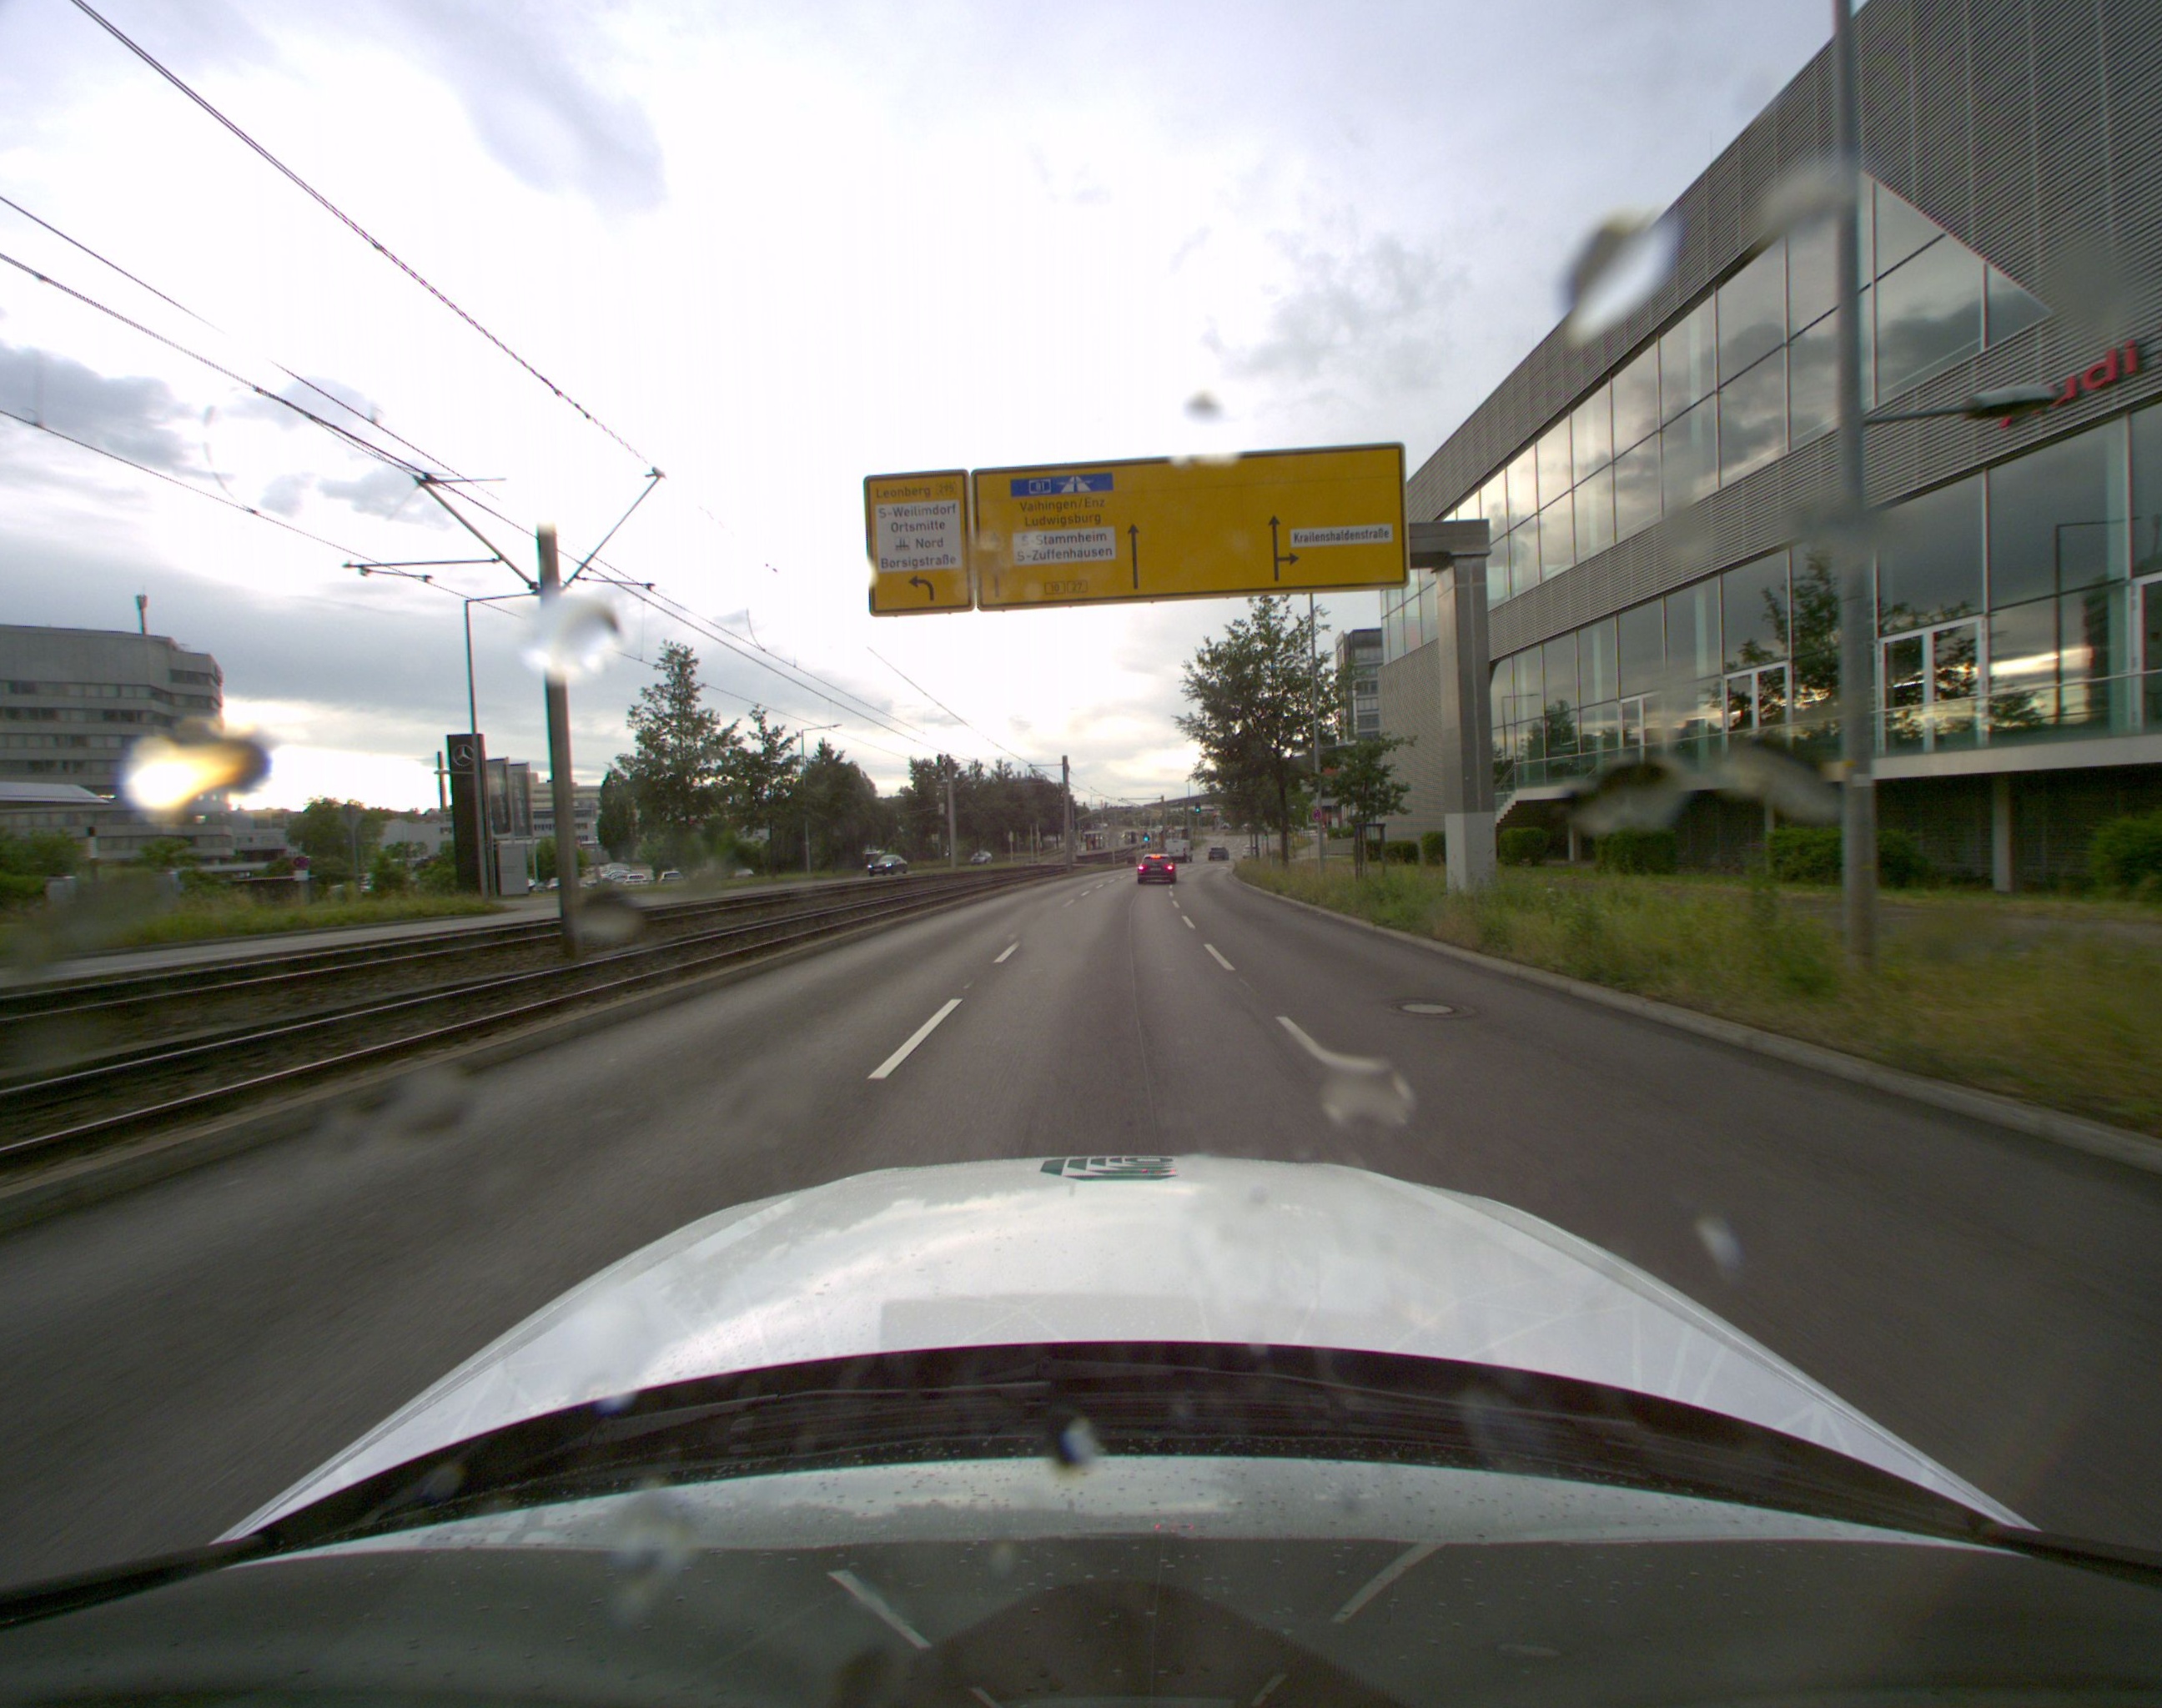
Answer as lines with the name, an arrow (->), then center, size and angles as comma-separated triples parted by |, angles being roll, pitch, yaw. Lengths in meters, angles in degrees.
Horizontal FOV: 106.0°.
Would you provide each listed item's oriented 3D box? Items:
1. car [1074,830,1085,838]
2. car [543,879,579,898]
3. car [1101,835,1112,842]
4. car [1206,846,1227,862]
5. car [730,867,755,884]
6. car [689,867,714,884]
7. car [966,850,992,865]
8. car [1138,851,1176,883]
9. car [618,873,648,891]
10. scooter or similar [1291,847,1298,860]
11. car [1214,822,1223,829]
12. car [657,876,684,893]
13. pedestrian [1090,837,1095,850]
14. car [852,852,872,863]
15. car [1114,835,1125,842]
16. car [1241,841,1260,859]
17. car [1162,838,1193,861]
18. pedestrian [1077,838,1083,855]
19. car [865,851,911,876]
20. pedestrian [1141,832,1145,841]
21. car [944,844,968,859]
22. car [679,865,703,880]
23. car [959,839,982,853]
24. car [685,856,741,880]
car -> -0.507, -5.491, 226.573 | 1.999, 2.014, 3.974 | 0, -1, -19
car -> -43.946, 2.912, 68.921 | 1.758, 1.494, 3.971 | 0, -1, -21
car -> 7.421, -4.498, 234.695 | 1.999, 2.014, 3.974 | 0, -1, -19
car -> 14.443, 0.007, 86.570 | 2.008, 1.623, 4.012 | -1, -1, 11
car -> -31.136, 1.983, 74.831 | 2.003, 1.510, 3.966 | 0, -1, -25
car -> -34.516, 1.959, 74.169 | 1.758, 1.494, 3.971 | 0, -1, -21
car -> -12.064, 0.436, 96.442 | 1.982, 1.679, 4.009 | -1, 0, 7
car -> 3.821, 0.598, 40.377 | 1.755, 1.463, 4.635 | 0, 0, 7
car -> -39.345, 2.452, 71.518 | 1.758, 1.494, 3.971 | 0, -1, -21
scooter or similar -> 20.808, -0.060, 79.241 | 0.455, 1.263, 1.340 | -4, 0, 9
car -> 43.487, -9.071, 257.513 | 1.986, 2.014, 4.001 | -1, -1, 2
car -> -36.658, 2.699, 72.827 | 1.758, 1.494, 3.971 | 0, -1, -21
pedestrian -> 1.574, -1.444, 111.749 | 0.633, 1.854, 0.753 | -1, -1, 12
car -> -43.470, 0.727, 161.455 | 3.949, 2.014, 2.012 | -2, -2, 42
car -> 11.112, -4.505, 235.586 | 1.999, 2.014, 3.974 | 0, -1, -19
car -> 18.929, -0.435, 90.702 | 2.007, 1.769, 4.015 | -1, 2, 13
car -> 9.685, -0.410, 81.453 | 2.494, 2.177, 5.167 | -1, -1, 13
pedestrian -> -0.088, -0.867, 96.265 | 0.545, 1.953, 0.665 | -1, -1, 9
car -> -13.751, 0.653, 58.264 | 1.875, 1.520, 4.406 | -5, 0, 3
pedestrian -> 12.333, -3.539, 162.466 | 0.747, 1.751, 0.766 | -1, -1, 13
car -> -18.491, -0.355, 120.628 | 1.979, 2.014, 4.016 | -1, -1, 15
car -> -39.956, 1.922, 83.405 | 2.005, 1.510, 3.963 | 0, -1, -28
car -> -17.060, -1.233, 125.788 | 1.979, 2.014, 4.016 | -1, -1, 15
car -> -26.994, 1.017, 59.837 | 1.984, 1.651, 4.005 | -1, -1, 5
